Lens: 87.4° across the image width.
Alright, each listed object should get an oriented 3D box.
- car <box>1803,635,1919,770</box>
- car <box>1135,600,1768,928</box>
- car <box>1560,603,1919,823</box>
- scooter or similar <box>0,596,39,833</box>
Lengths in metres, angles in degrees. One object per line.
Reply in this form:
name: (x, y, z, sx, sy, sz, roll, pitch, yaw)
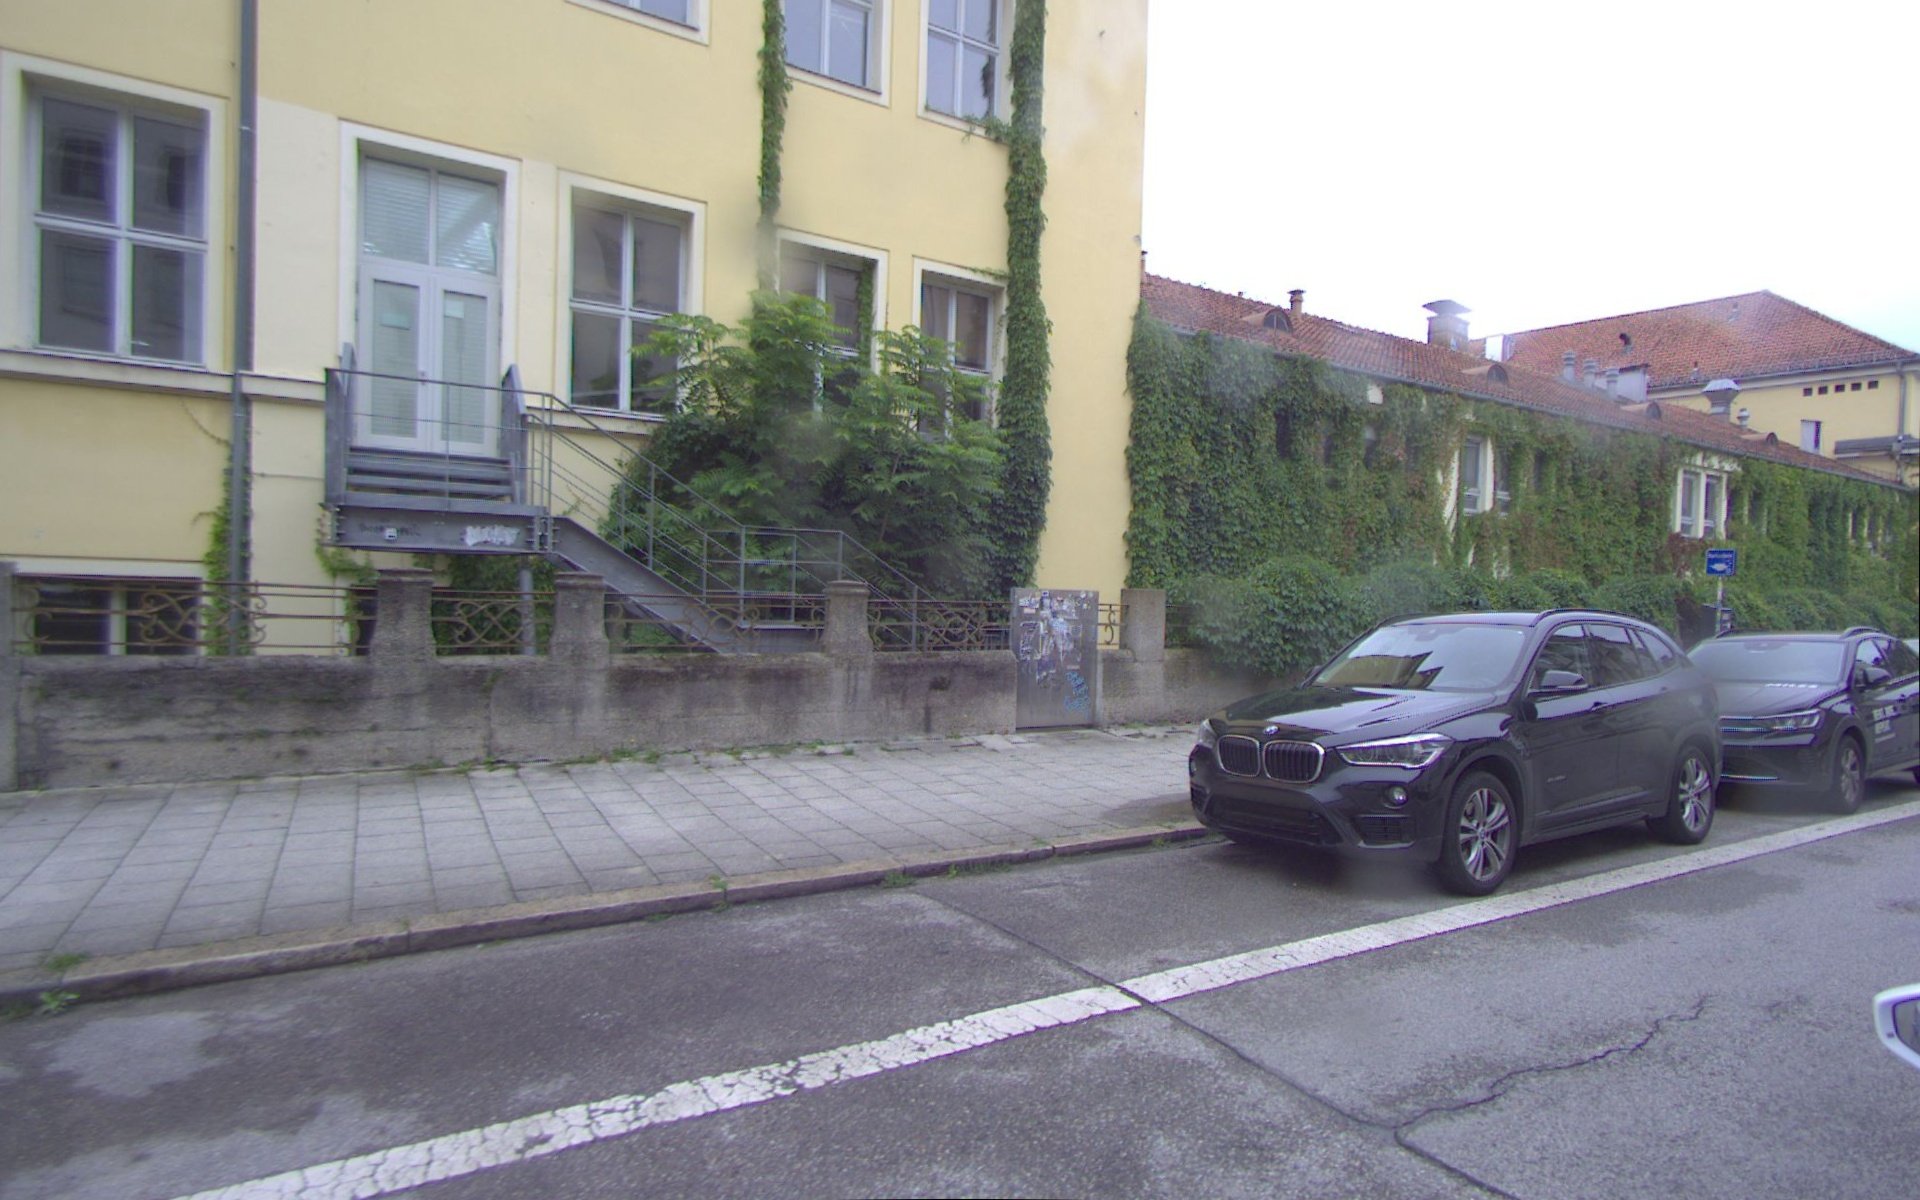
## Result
car: (11.983, 1.162, 12.094, 4.205, 1.449, 1.595, 2, -3, -32)
car: (3.591, 0.887, 7.005, 4.766, 1.607, 1.779, 2, -3, -33)
car: (7.700, 0.927, 9.489, 4.417, 1.651, 1.715, 2, -2, -33)
scooter or similar: (-6.364, 0.659, 5.759, 1.484, 1.387, 0.557, 1, 0, -31)
